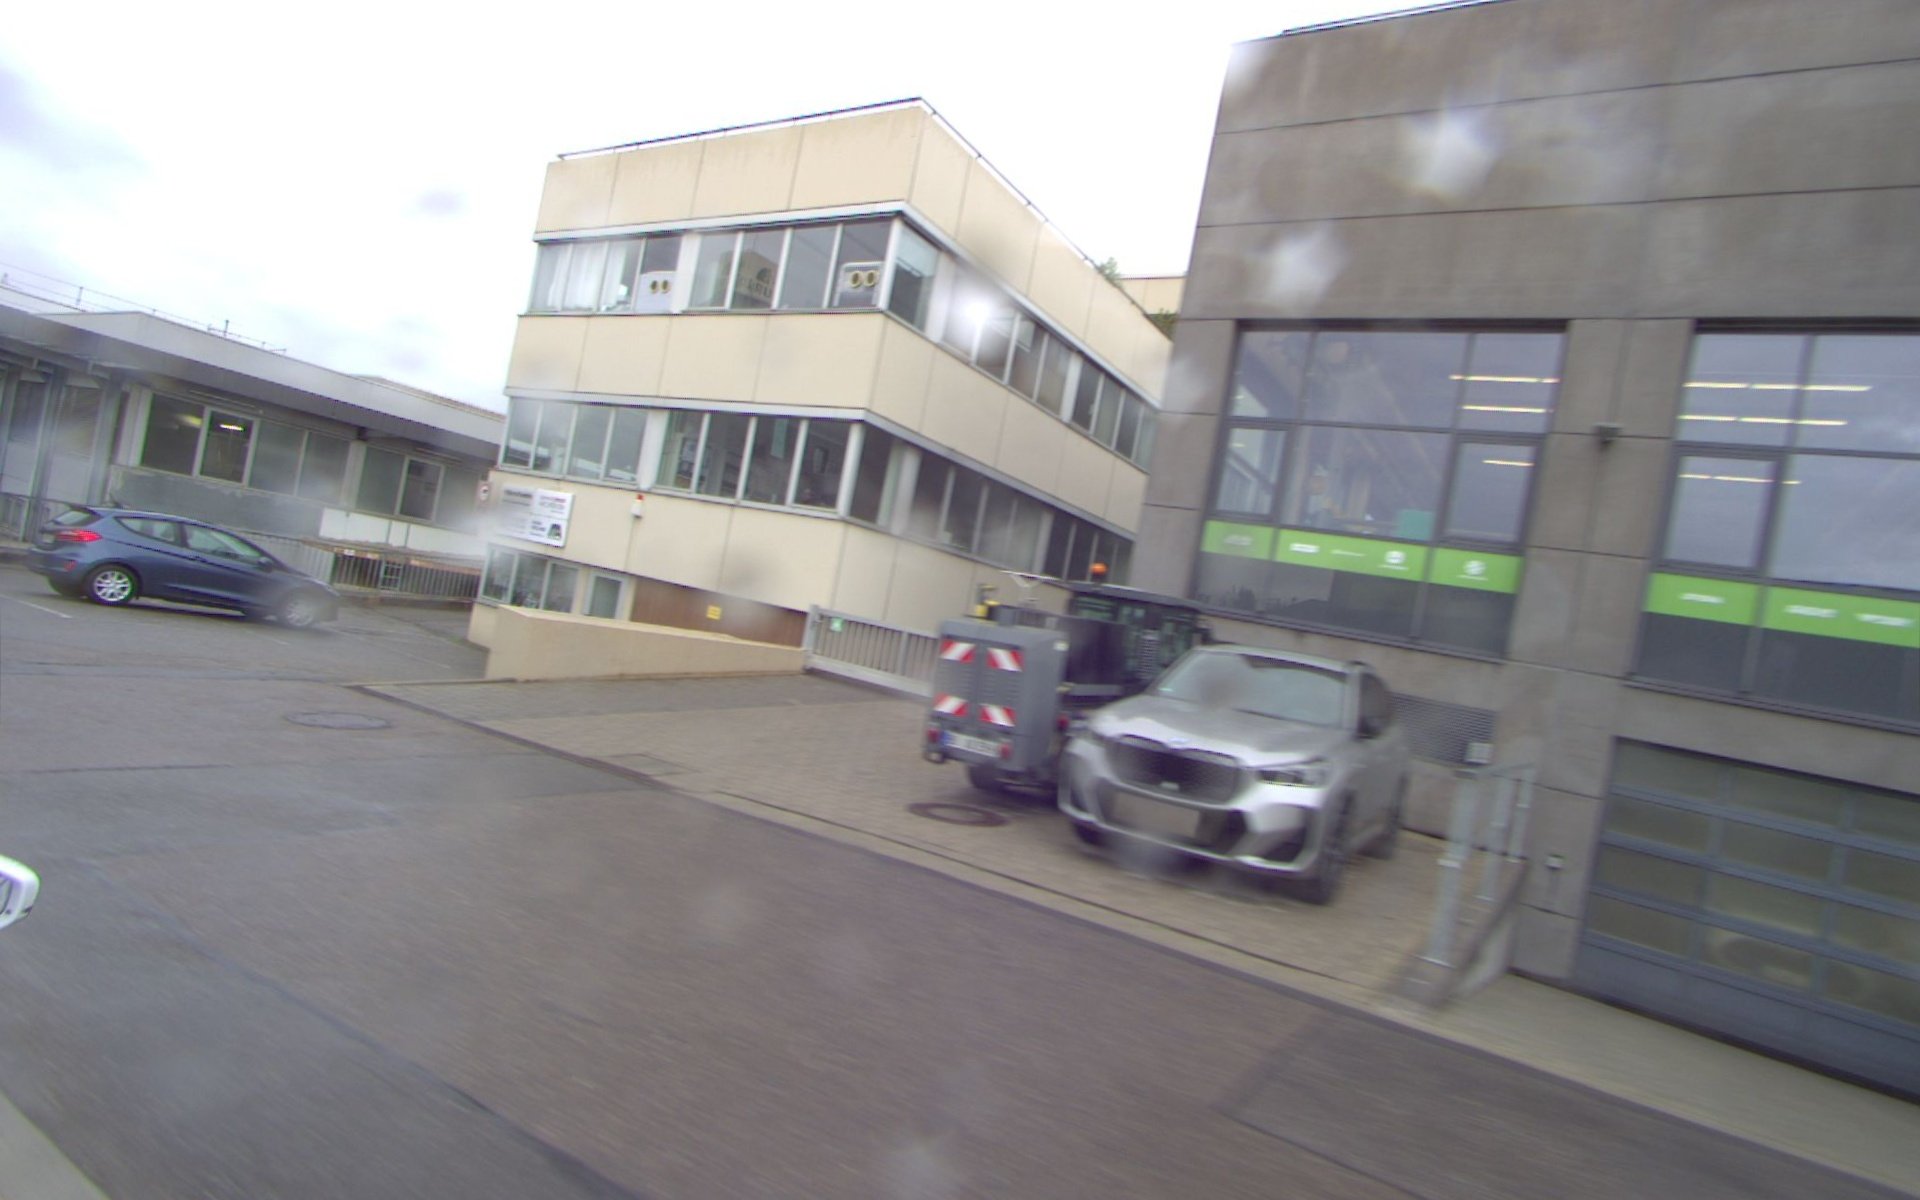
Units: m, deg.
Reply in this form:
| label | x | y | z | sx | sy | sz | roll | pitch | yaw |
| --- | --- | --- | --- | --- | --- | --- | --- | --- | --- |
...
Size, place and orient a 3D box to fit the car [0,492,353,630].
| label | x | y | z | sx | sy | sz | roll | pitch | yaw |
| --- | --- | --- | --- | --- | --- | --- | --- | --- | --- |
| car | -12.140 | -0.538 | 15.859 | 1.791 | 1.398 | 3.906 | 6 | -5 | 32 |

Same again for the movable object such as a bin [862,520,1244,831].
| label | x | y | z | sx | sy | sz | roll | pitch | yaw |
| --- | --- | --- | --- | --- | --- | --- | --- | --- | --- |
| movable object such as a bin | 1.122 | 0.718 | 9.294 | 1.453 | 2.135 | 4.260 | 7 | -2 | 33 |

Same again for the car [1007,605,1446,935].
| label | x | y | z | sx | sy | sz | roll | pitch | yaw |
| --- | --- | --- | --- | --- | --- | --- | --- | --- | --- |
| car | 2.541 | 1.199 | 8.252 | 1.893 | 1.632 | 5.100 | 8 | -1 | 32 |
